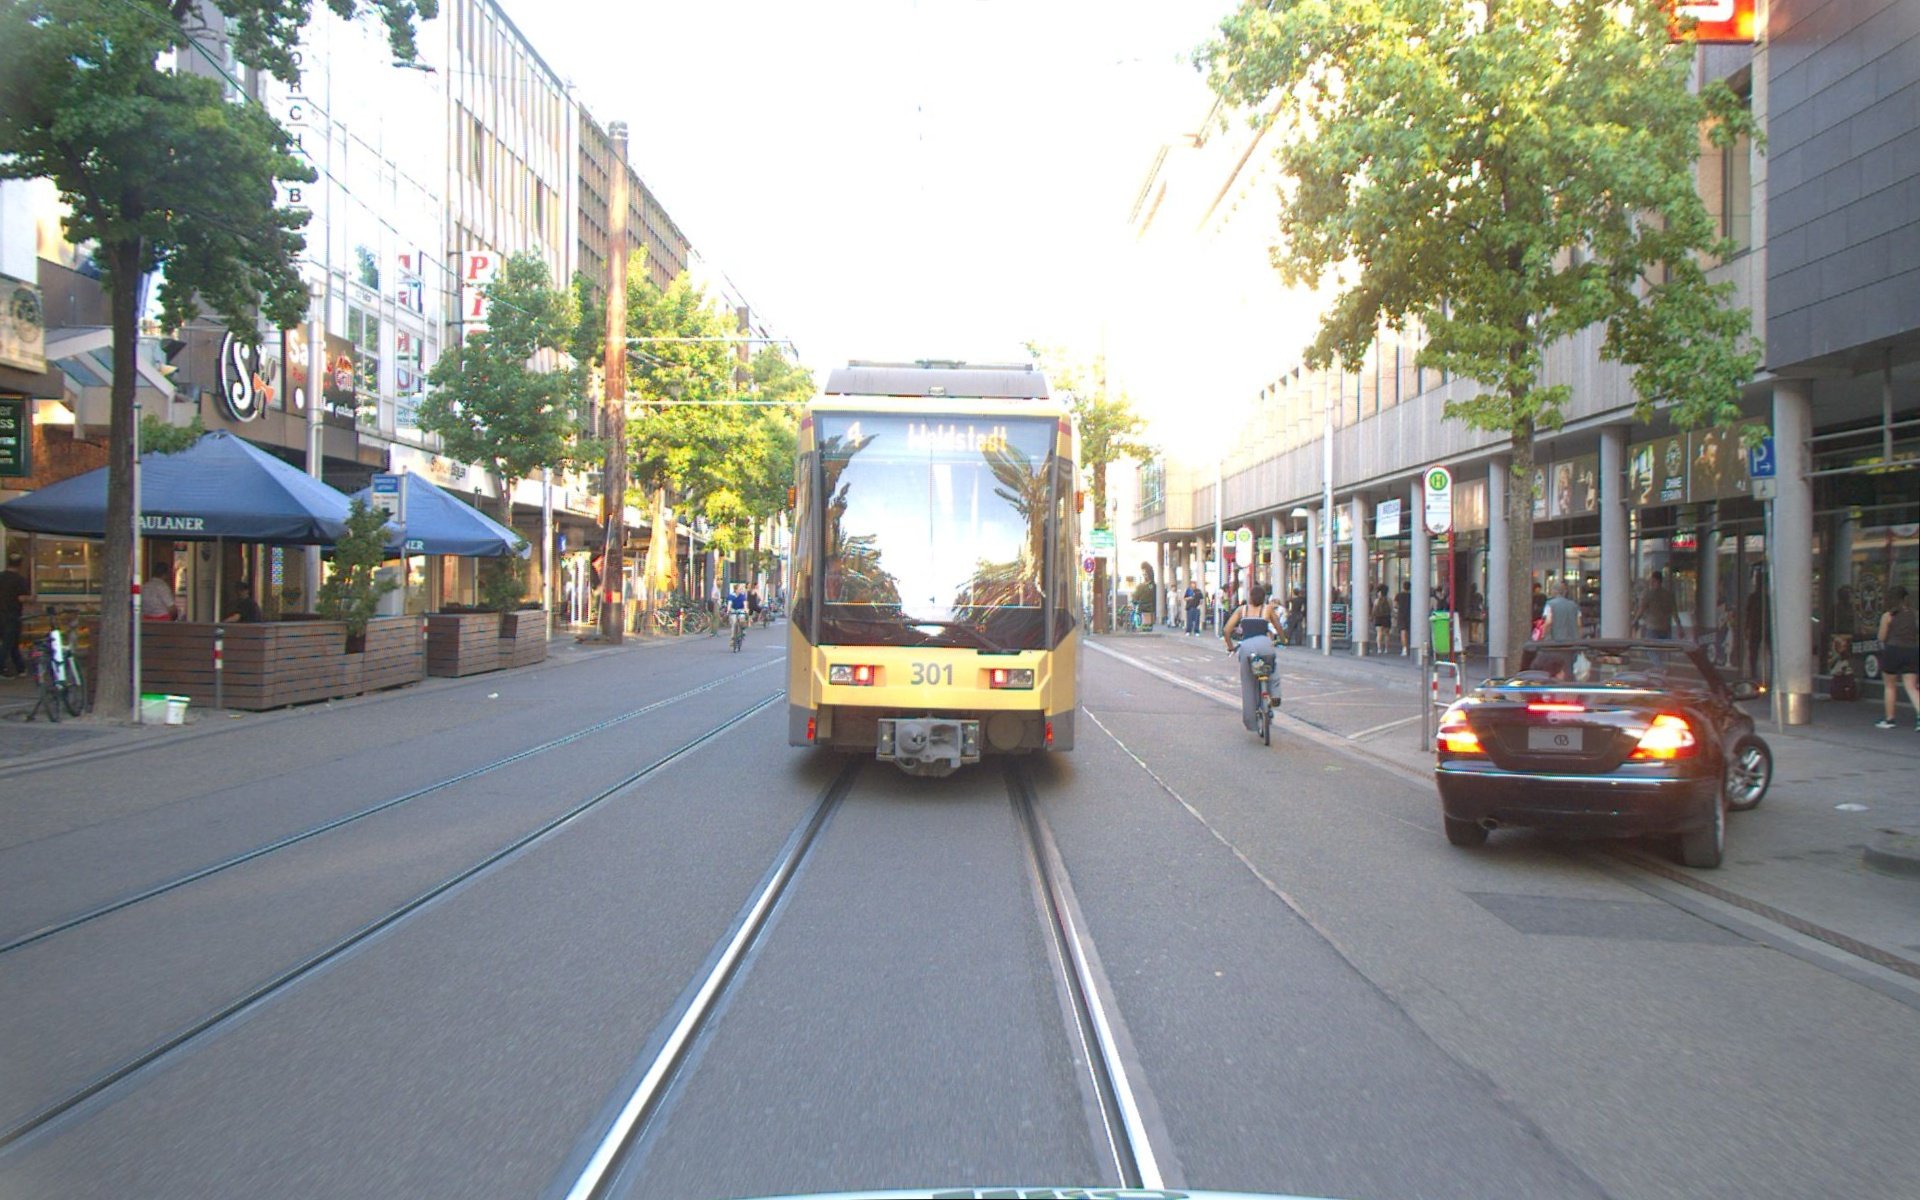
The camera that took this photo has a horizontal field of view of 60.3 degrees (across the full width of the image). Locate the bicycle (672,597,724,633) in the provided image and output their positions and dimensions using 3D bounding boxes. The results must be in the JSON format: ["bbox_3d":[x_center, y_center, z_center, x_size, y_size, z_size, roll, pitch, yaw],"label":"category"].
[{"bbox_3d":[-9.085,0.521,57.378,1.699,1.146,0.563,3,-1,-4],"label":"bicycle"}]

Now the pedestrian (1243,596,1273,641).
[{"bbox_3d":[9.283,0.572,51.542,0.789,1.351,0.626,-1,1,0],"label":"pedestrian"}]

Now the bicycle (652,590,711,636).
[{"bbox_3d":[-8.963,0.426,53.193,1.766,1.384,0.658,3,-1,-13],"label":"bicycle"}]

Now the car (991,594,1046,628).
[{"bbox_3d":[2.944,0.565,82.072,1.608,1.622,3.920,1,-1,20],"label":"car"}]

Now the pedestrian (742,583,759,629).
[{"bbox_3d":[-8.098,0.237,63.853,0.540,1.716,0.575,3,-1,-4],"label":"pedestrian"}]

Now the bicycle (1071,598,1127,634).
[{"bbox_3d":[5.970,0.690,71.084,2.282,1.497,0.790,1,-1,-4],"label":"bicycle"}]

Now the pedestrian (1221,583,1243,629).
[{"bbox_3d":[10.286,0.211,62.588,0.687,1.714,0.680,-1,1,0],"label":"pedestrian"}]

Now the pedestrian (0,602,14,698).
[{"bbox_3d":[-11.881,0.575,19.585,0.804,1.140,0.779,3,0,9],"label":"pedestrian"}]

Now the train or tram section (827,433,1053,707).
[{"bbox_3d":[-0.347,-0.406,27.172,2.946,3.585,10.400,1,0,-1],"label":"train or tram section"}]

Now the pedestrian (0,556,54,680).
[{"bbox_3d":[-12.672,0.230,22.221,0.591,1.624,0.560,3,-1,1],"label":"pedestrian"}]

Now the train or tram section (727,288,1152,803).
[{"bbox_3d":[-0.218,-0.367,16.798,2.955,3.585,10.368,0,0,-1],"label":"train or tram section"}]

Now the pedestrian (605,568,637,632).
[{"bbox_3d":[-11.021,0.019,53.789,0.831,2.049,0.921,1,-1,0],"label":"pedestrian"}]

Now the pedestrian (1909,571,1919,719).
[{"bbox_3d":[11.003,0.503,18.137,0.584,1.644,1.021,-1,1,-1],"label":"pedestrian"}]

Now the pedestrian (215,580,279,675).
[{"bbox_3d":[-9.964,0.377,23.131,0.547,1.278,0.606,3,-1,0],"label":"pedestrian"}]

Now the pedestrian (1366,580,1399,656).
[{"bbox_3d":[10.663,0.451,41.766,0.584,1.871,0.829,-1,1,0],"label":"pedestrian"}]

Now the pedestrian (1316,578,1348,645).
[{"bbox_3d":[10.535,0.321,46.877,0.687,1.871,0.829,-1,1,0],"label":"pedestrian"}]

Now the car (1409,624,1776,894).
[{"bbox_3d":[4.579,0.915,11.543,1.768,1.372,4.438,0,1,29],"label":"car"}]

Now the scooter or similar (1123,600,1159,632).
[{"bbox_3d":[7.289,0.639,66.554,1.353,1.272,0.555,0,-1,-8],"label":"scooter or similar"}]

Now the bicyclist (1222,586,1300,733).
[{"bbox_3d":[3.300,0.645,18.165,0.711,1.553,0.734,2,-1,4],"label":"bicyclist"}]

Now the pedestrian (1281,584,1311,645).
[{"bbox_3d":[9.415,0.411,46.347,0.687,1.666,0.646,-1,1,0],"label":"pedestrian"}]

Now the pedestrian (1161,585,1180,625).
[{"bbox_3d":[9.072,0.211,71.375,0.687,1.714,0.680,-1,1,0],"label":"pedestrian"}]

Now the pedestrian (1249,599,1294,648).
[{"bbox_3d":[8.986,0.667,47.771,1.089,1.351,0.926,-1,0,0],"label":"pedestrian"}]

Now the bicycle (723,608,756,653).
[{"bbox_3d":[-5.414,0.743,40.721,0.628,1.040,1.588,2,0,-3],"label":"bicycle"}]

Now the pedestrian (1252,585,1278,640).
[{"bbox_3d":[10.580,0.414,57.393,0.687,1.871,0.829,-1,1,0],"label":"pedestrian"}]

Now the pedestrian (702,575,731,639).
[{"bbox_3d":[-7.416,0.220,50.347,0.736,1.912,0.575,3,-1,-4],"label":"pedestrian"}]

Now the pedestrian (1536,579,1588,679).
[{"bbox_3d":[10.135,0.478,27.866,0.584,1.644,0.755,-1,1,0],"label":"pedestrian"}]

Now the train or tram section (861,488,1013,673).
[{"bbox_3d":[-0.540,-0.388,37.806,2.942,3.585,10.843,1,0,-1],"label":"train or tram section"}]

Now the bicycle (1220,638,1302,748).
[{"bbox_3d":[3.303,0.991,18.284,0.642,1.079,2.058,2,0,4],"label":"bicycle"}]

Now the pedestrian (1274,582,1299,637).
[{"bbox_3d":[11.416,0.314,57.795,0.687,1.871,0.829,-1,1,0],"label":"pedestrian"}]

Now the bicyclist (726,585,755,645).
[{"bbox_3d":[-5.412,0.373,40.779,0.608,1.441,0.699,1,-1,-3],"label":"bicyclist"}]

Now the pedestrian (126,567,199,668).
[{"bbox_3d":[-10.519,0.233,21.827,0.591,1.278,0.560,3,-1,2],"label":"pedestrian"}]

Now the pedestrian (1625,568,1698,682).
[{"bbox_3d":[11.717,0.401,27.646,0.815,1.868,0.944,-1,1,0],"label":"pedestrian"}]

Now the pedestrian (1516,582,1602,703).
[{"bbox_3d":[8.325,0.578,23.016,0.859,1.609,0.755,2,1,-1],"label":"pedestrian"}]

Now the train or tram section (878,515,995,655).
[{"bbox_3d":[-0.700,-0.402,48.500,2.982,3.585,10.528,2,0,-1],"label":"train or tram section"}]

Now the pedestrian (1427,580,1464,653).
[{"bbox_3d":[11.288,0.374,38.468,0.584,1.644,0.829,-1,1,0],"label":"pedestrian"}]

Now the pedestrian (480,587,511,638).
[{"bbox_3d":[-12.513,0.333,44.560,0.562,1.342,0.725,3,-1,0],"label":"pedestrian"}]

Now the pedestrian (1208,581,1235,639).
[{"bbox_3d":[8.393,0.319,53.098,0.733,1.813,0.891,1,-1,3],"label":"pedestrian"}]

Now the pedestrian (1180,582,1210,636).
[{"bbox_3d":[7.980,0.293,56.300,0.870,1.813,0.751,1,-1,-2],"label":"pedestrian"}]

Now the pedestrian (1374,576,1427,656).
[{"bbox_3d":[10.798,0.389,40.559,1.031,1.909,0.929,-1,1,0],"label":"pedestrian"}]

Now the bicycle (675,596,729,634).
[{"bbox_3d":[-8.567,0.509,54.956,1.700,1.146,0.612,3,-1,-7],"label":"bicycle"}]

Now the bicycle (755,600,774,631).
[{"bbox_3d":[-7.480,0.585,63.430,0.599,1.146,2.249,3,-1,-5],"label":"bicycle"}]

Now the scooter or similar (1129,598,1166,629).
[{"bbox_3d":[7.455,0.546,65.665,1.356,1.232,0.514,0,-1,-14],"label":"scooter or similar"}]

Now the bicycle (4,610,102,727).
[{"bbox_3d":[-9.707,0.697,17.768,0.801,1.122,2.148,0,1,-26],"label":"bicycle"}]

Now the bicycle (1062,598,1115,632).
[{"bbox_3d":[5.822,0.662,75.174,2.282,1.497,0.790,1,-1,-4],"label":"bicycle"}]

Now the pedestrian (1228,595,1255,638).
[{"bbox_3d":[9.080,0.526,53.348,0.724,1.351,0.720,-1,1,0],"label":"pedestrian"}]

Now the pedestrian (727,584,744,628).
[{"bbox_3d":[-8.744,0.235,64.500,0.563,1.716,0.551,3,-1,-10],"label":"pedestrian"}]

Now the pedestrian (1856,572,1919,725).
[{"bbox_3d":[10.433,0.517,18.307,0.584,1.644,0.755,-1,1,-1],"label":"pedestrian"}]
